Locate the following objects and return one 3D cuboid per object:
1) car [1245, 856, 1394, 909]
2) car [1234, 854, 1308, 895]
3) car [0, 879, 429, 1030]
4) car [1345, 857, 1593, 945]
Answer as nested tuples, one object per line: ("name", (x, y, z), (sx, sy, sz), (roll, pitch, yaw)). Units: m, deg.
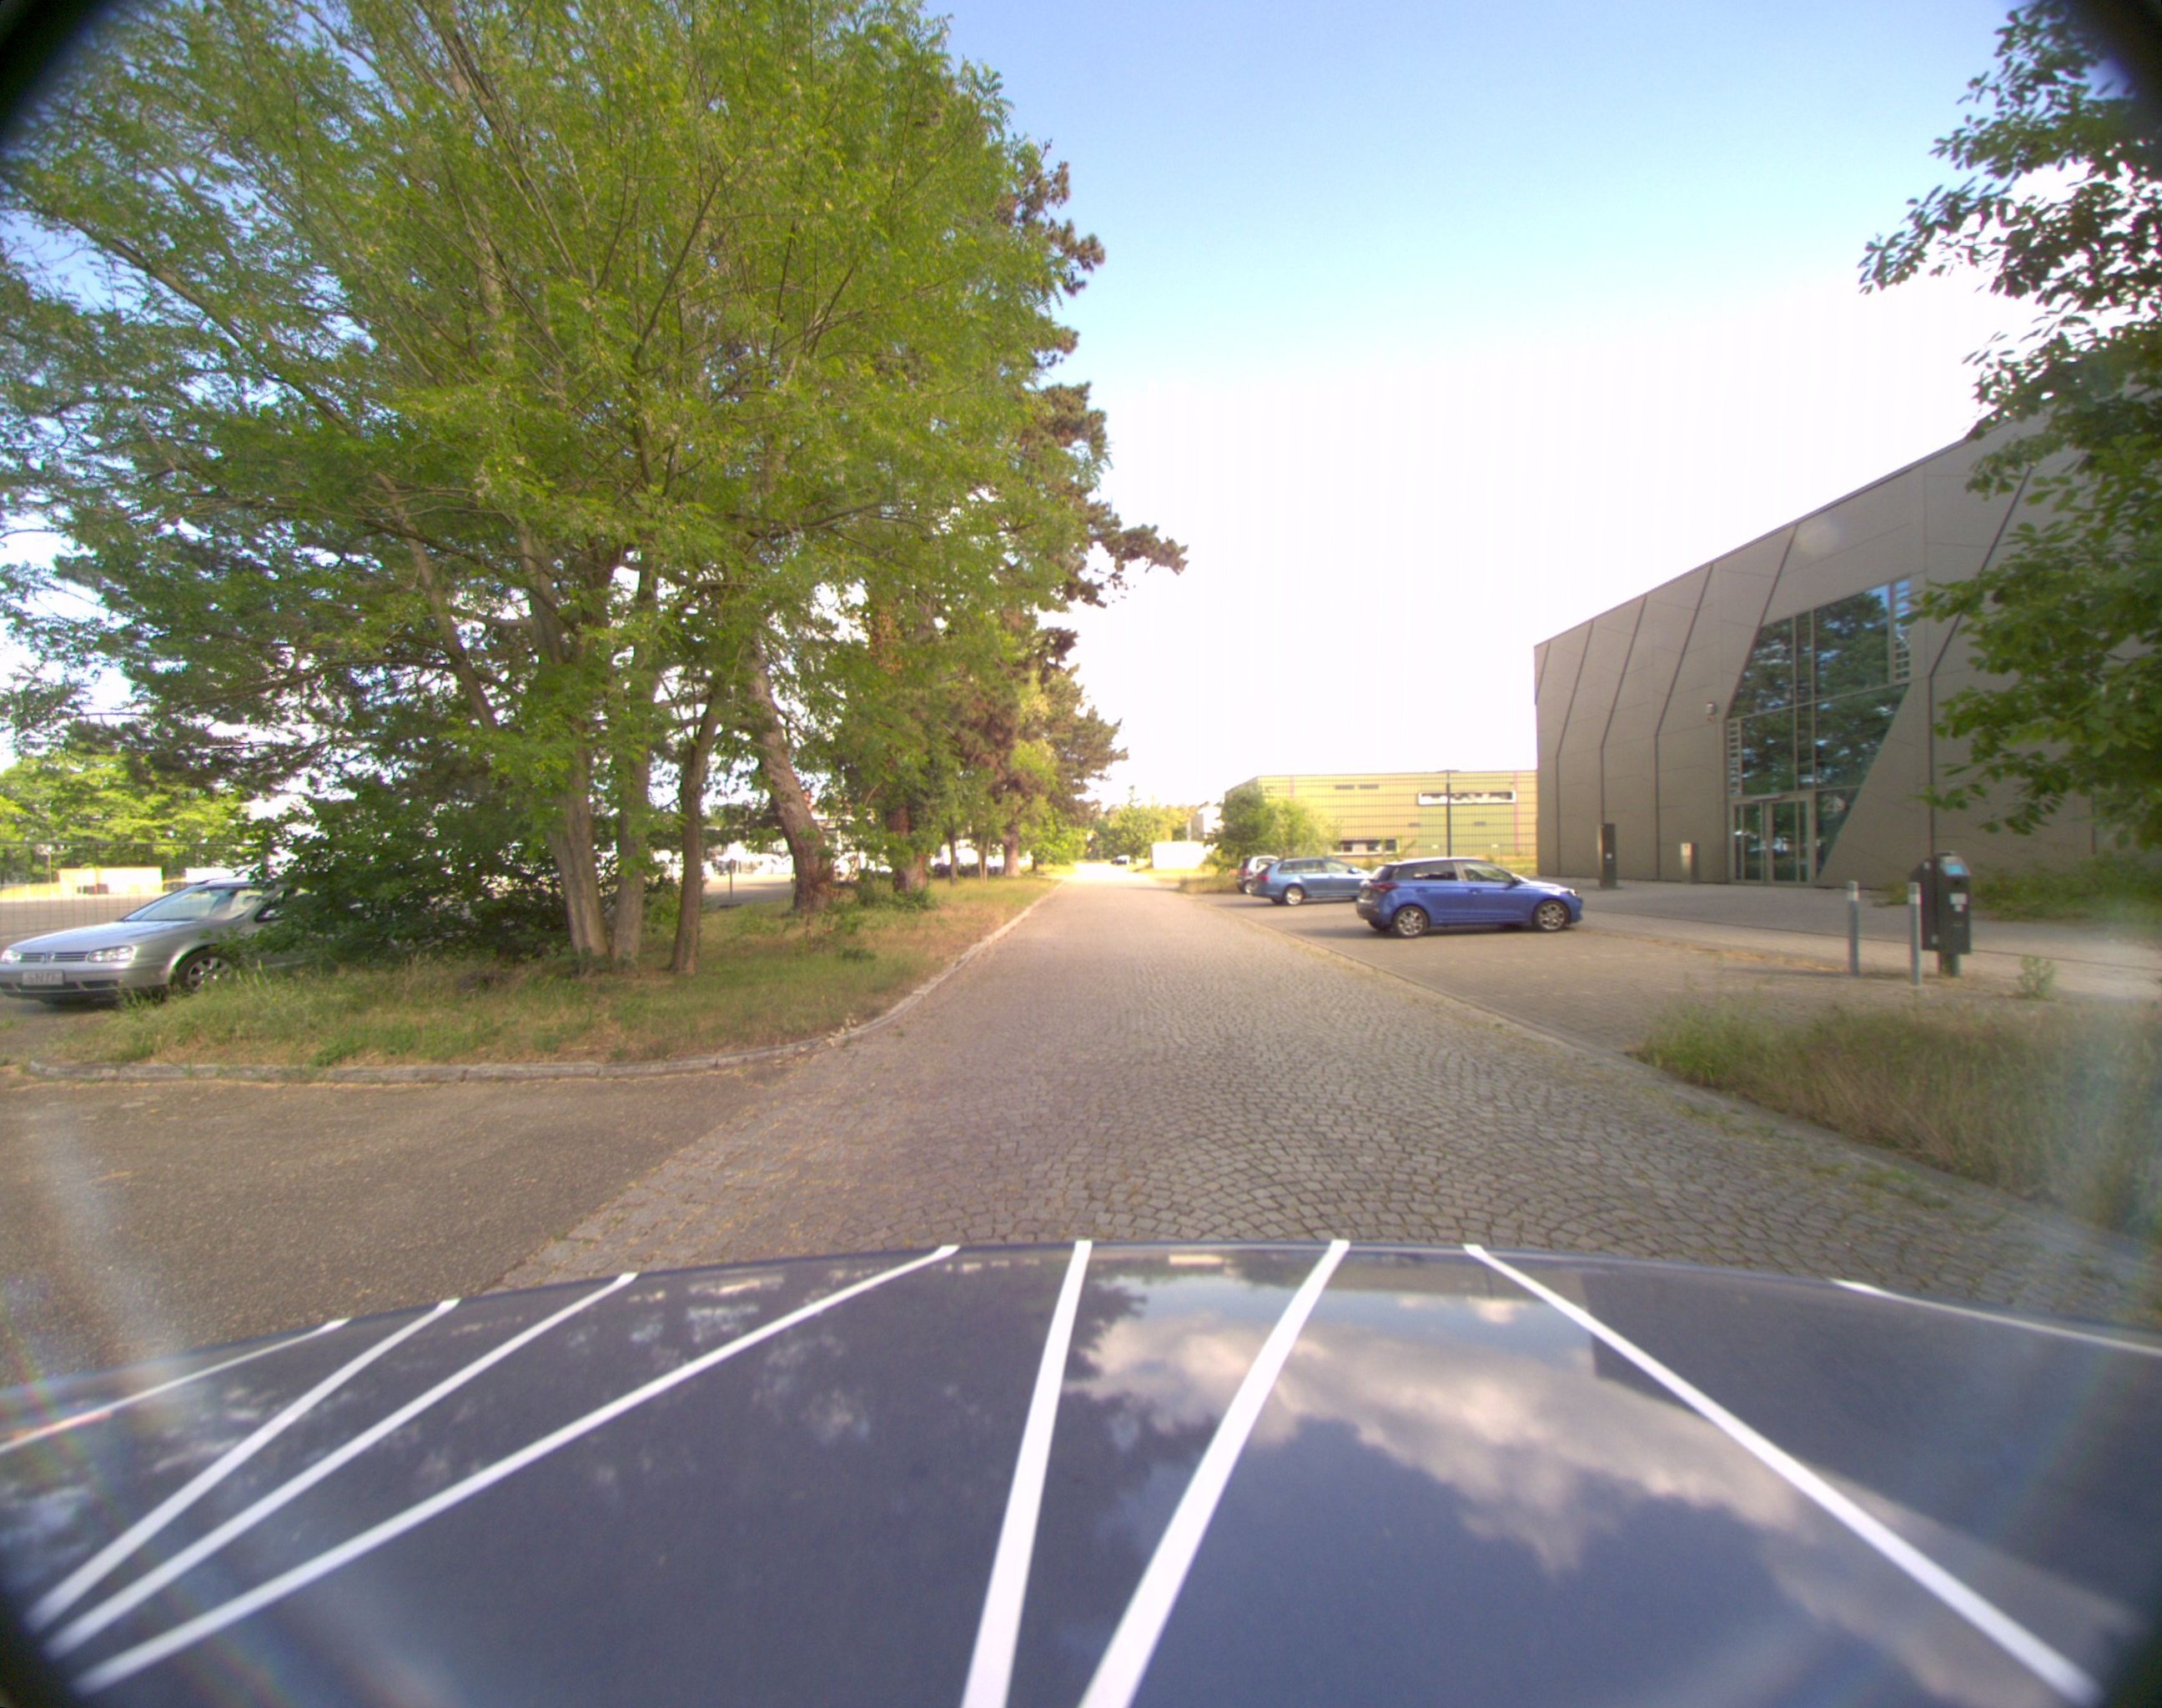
("car", (7.565, 0.880, 24.351), (4.179, 1.465, 1.734), (-2, 0, -1))
("car", (7.886, 0.831, 31.736), (2.652, 1.559, 1.482), (-2, 0, 0))
("car", (-11.072, 1.133, 10.009), (1.578, 1.435, 3.986), (-1, 0, -2))
("car", (7.444, 0.876, 14.897), (3.917, 1.459, 1.735), (-2, 0, 3))
